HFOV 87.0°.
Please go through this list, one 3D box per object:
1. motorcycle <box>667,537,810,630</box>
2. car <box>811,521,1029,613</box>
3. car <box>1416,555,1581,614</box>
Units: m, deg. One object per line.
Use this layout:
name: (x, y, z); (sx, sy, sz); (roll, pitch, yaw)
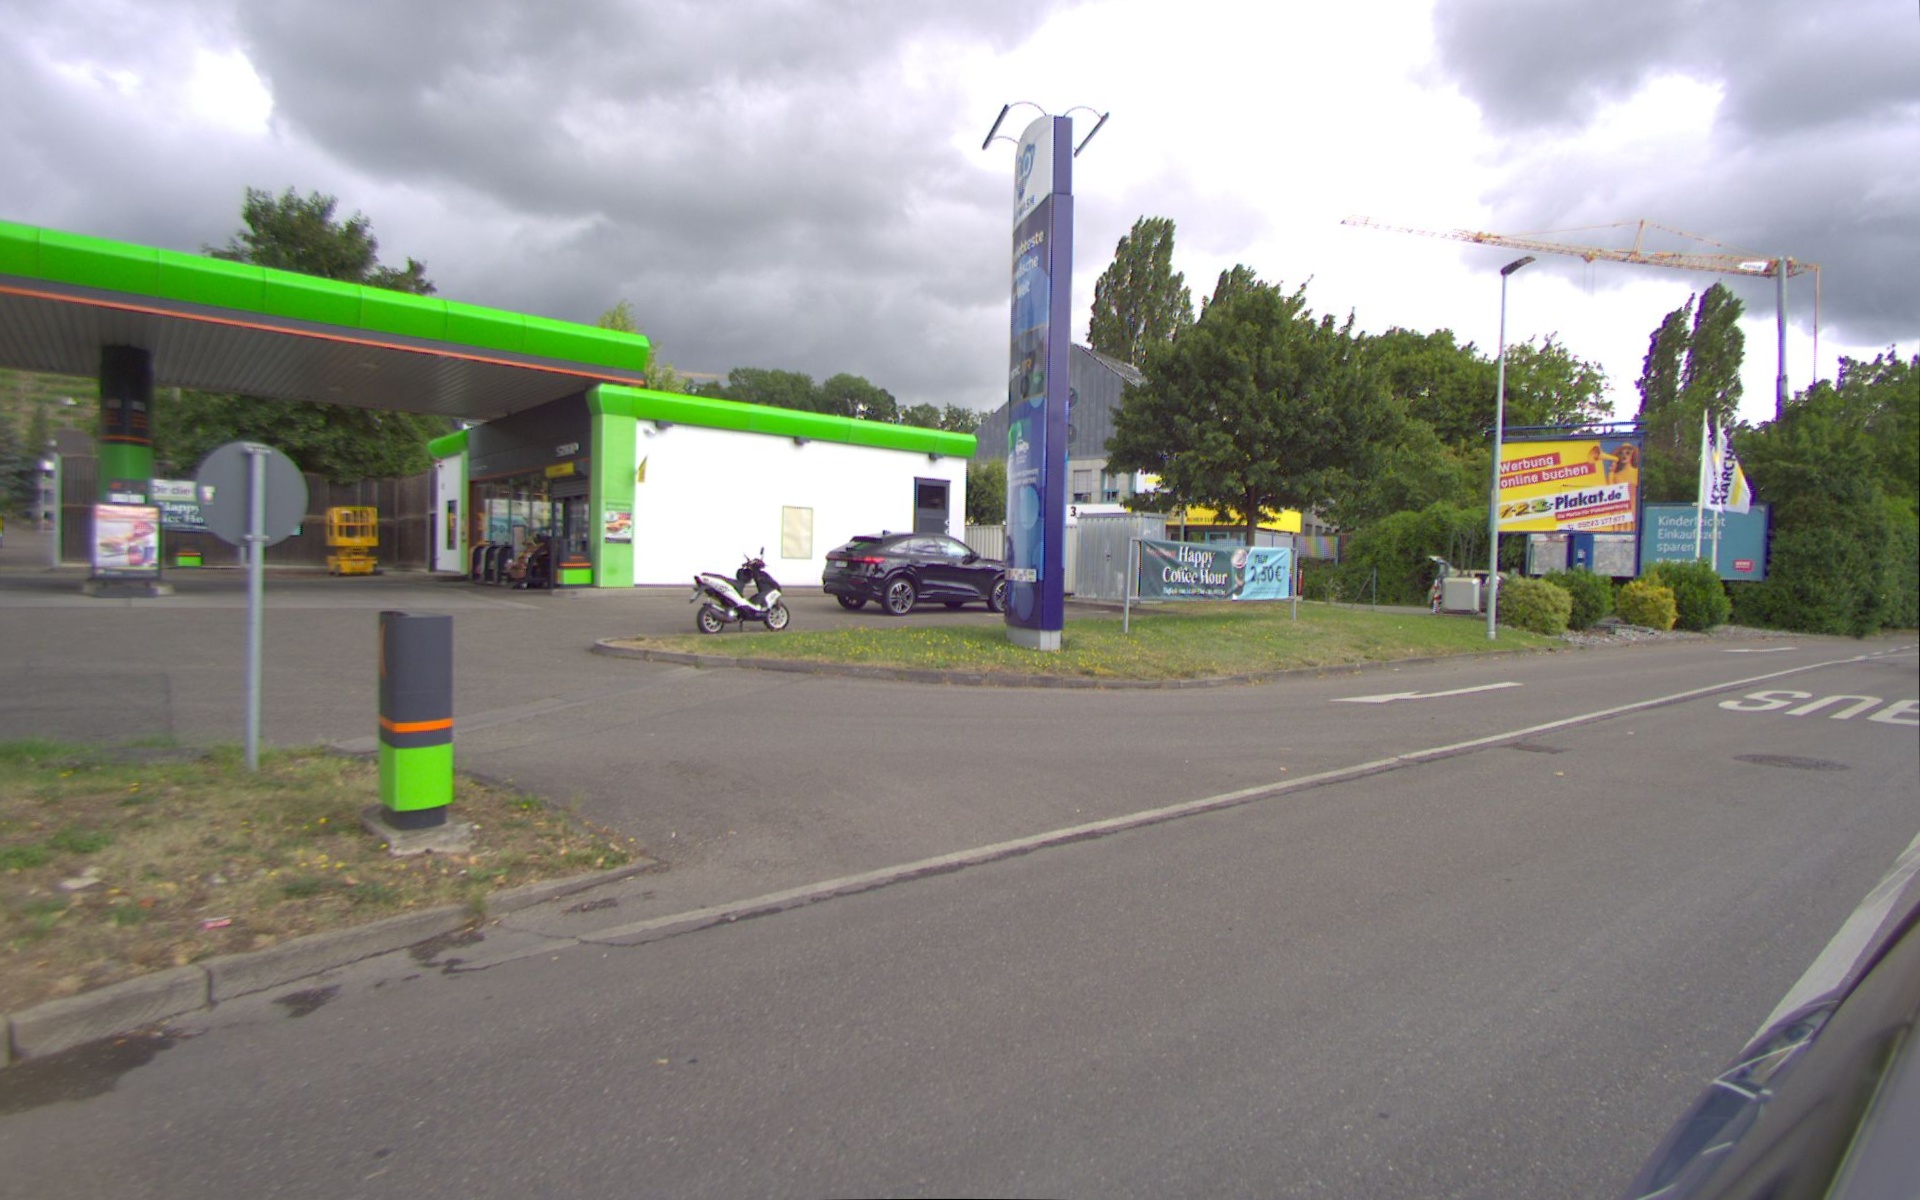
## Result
motorcycle: (-3.373, -0.261, 15.492); (1.955, 1.347, 0.857); (0, 2, -41)
car: (-0.771, -0.708, 21.124); (4.259, 1.694, 1.826); (-1, 5, -39)
car: (17.222, -0.542, 32.423); (4.017, 1.676, 2.900); (4, 3, 43)
